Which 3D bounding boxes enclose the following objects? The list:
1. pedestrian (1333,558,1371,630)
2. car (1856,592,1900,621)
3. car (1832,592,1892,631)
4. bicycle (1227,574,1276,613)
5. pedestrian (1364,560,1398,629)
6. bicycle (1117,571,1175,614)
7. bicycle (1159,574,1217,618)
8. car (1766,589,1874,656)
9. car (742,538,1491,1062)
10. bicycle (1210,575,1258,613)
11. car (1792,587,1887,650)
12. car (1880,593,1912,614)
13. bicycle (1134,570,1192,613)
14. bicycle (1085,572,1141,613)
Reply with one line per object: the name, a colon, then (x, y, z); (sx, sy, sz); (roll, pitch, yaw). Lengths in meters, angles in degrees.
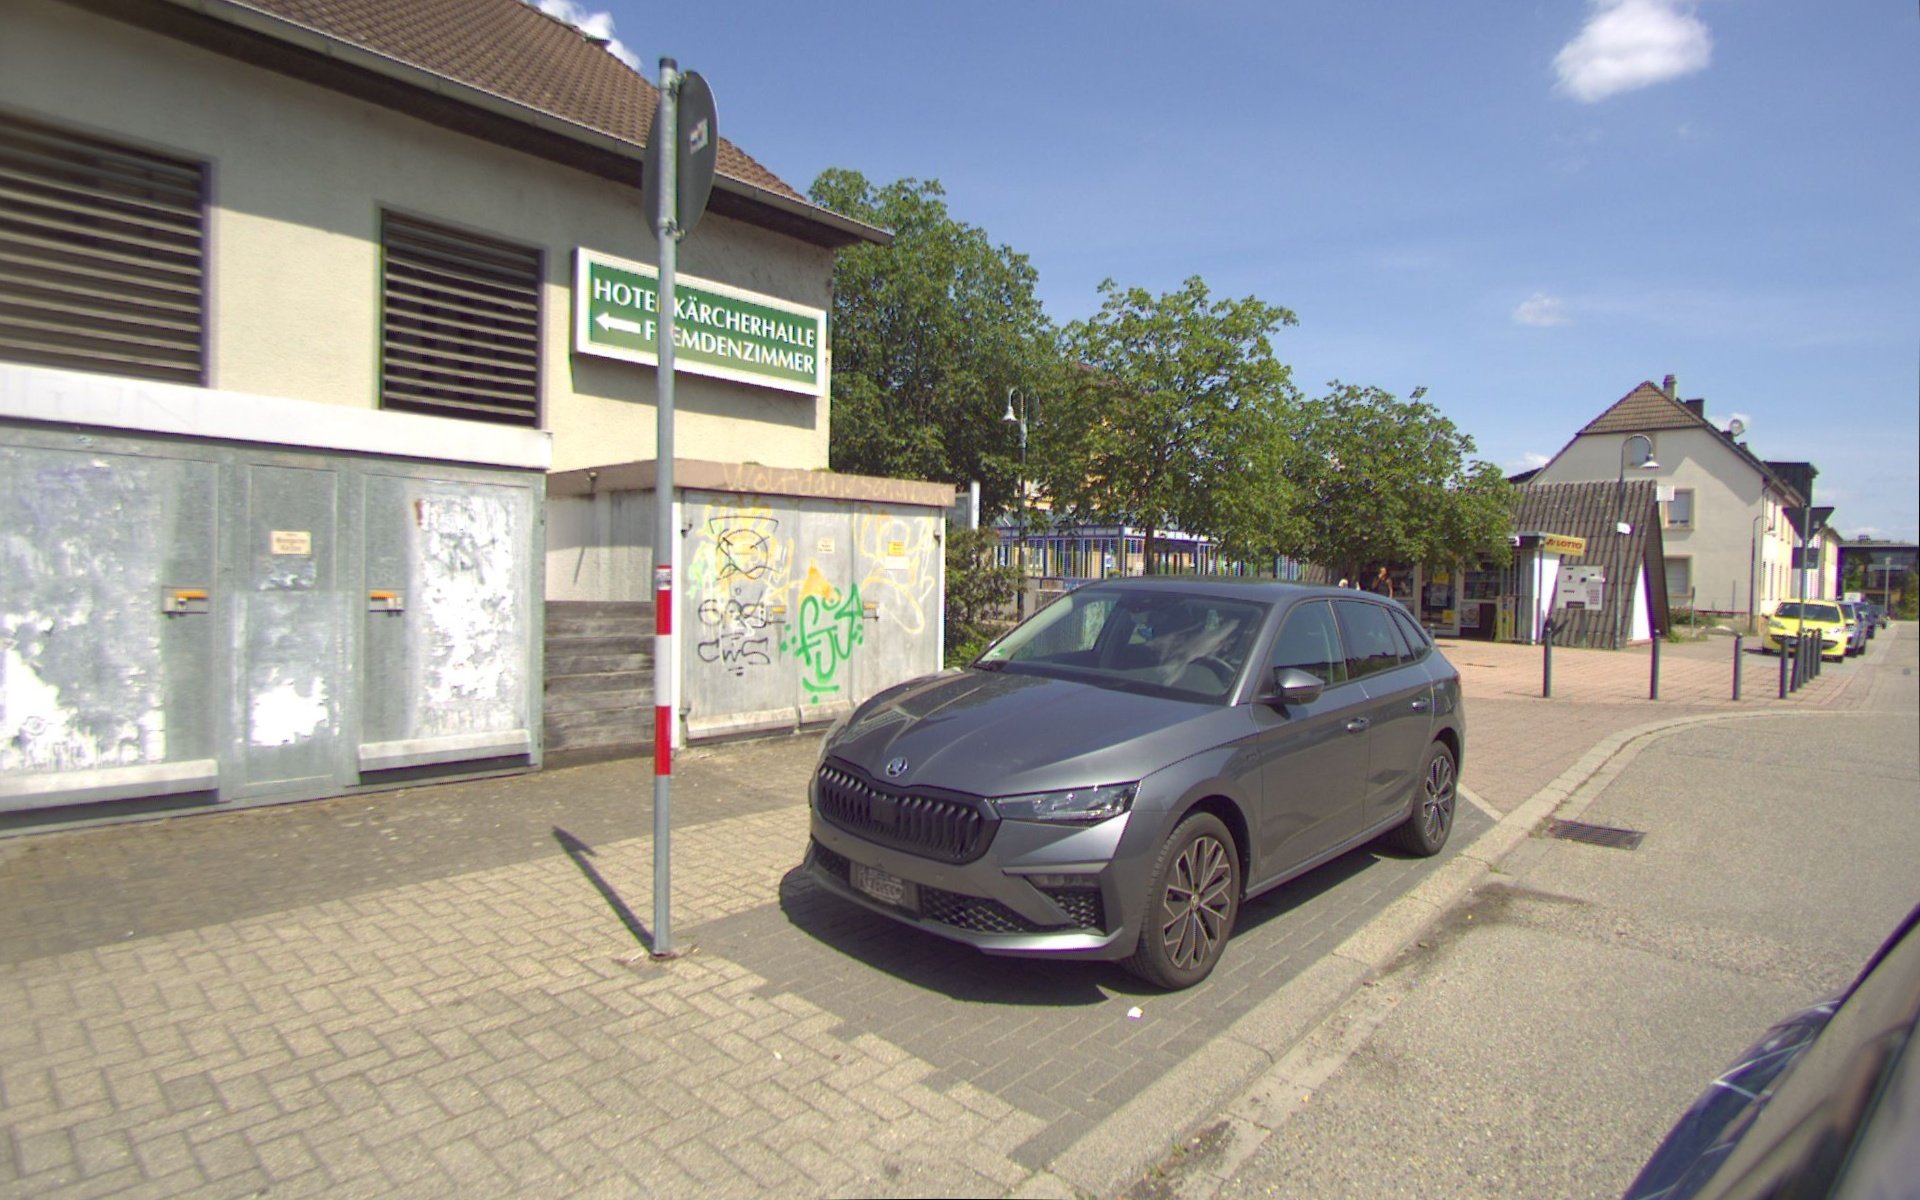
pedestrian: (10.096, -0.156, 26.079); (0.667, 1.811, 0.550); (1, 1, -4)
car: (55.517, 0.381, 61.157); (1.718, 1.518, 4.148); (8, 5, 44)
car: (40.304, 0.491, 45.203); (1.718, 1.518, 4.148); (8, 5, 44)
bicycle: (10.757, -0.238, 37.301); (2.313, 1.367, 0.604); (0, 2, -44)
pedestrian: (10.859, -0.155, 26.114); (0.586, 1.741, 0.465); (1, 1, -4)
bicycle: (6.189, -0.244, 33.630); (2.313, 1.367, 0.604); (0, 2, -44)
bicycle: (7.356, -0.139, 32.600); (2.313, 1.367, 0.604); (0, 2, -44)
car: (21.895, 0.515, 25.704); (1.718, 1.414, 4.148); (8, 5, 44)
car: (1.113, 0.535, 4.969); (1.627, 1.507, 4.076); (3, 2, 42)
bicycle: (10.277, -0.230, 37.879); (2.313, 1.367, 0.604); (0, 2, -44)
car: (25.145, 0.486, 28.899); (1.718, 1.518, 4.148); (8, 5, 44)
car: (76.337, 0.238, 82.488); (1.718, 1.518, 4.148); (8, 5, 44)
bicycle: (6.650, -0.274, 33.002); (2.313, 1.367, 0.604); (0, 2, -44)
bicycle: (5.304, -0.271, 34.965); (2.313, 1.367, 0.604); (0, 2, -44)
